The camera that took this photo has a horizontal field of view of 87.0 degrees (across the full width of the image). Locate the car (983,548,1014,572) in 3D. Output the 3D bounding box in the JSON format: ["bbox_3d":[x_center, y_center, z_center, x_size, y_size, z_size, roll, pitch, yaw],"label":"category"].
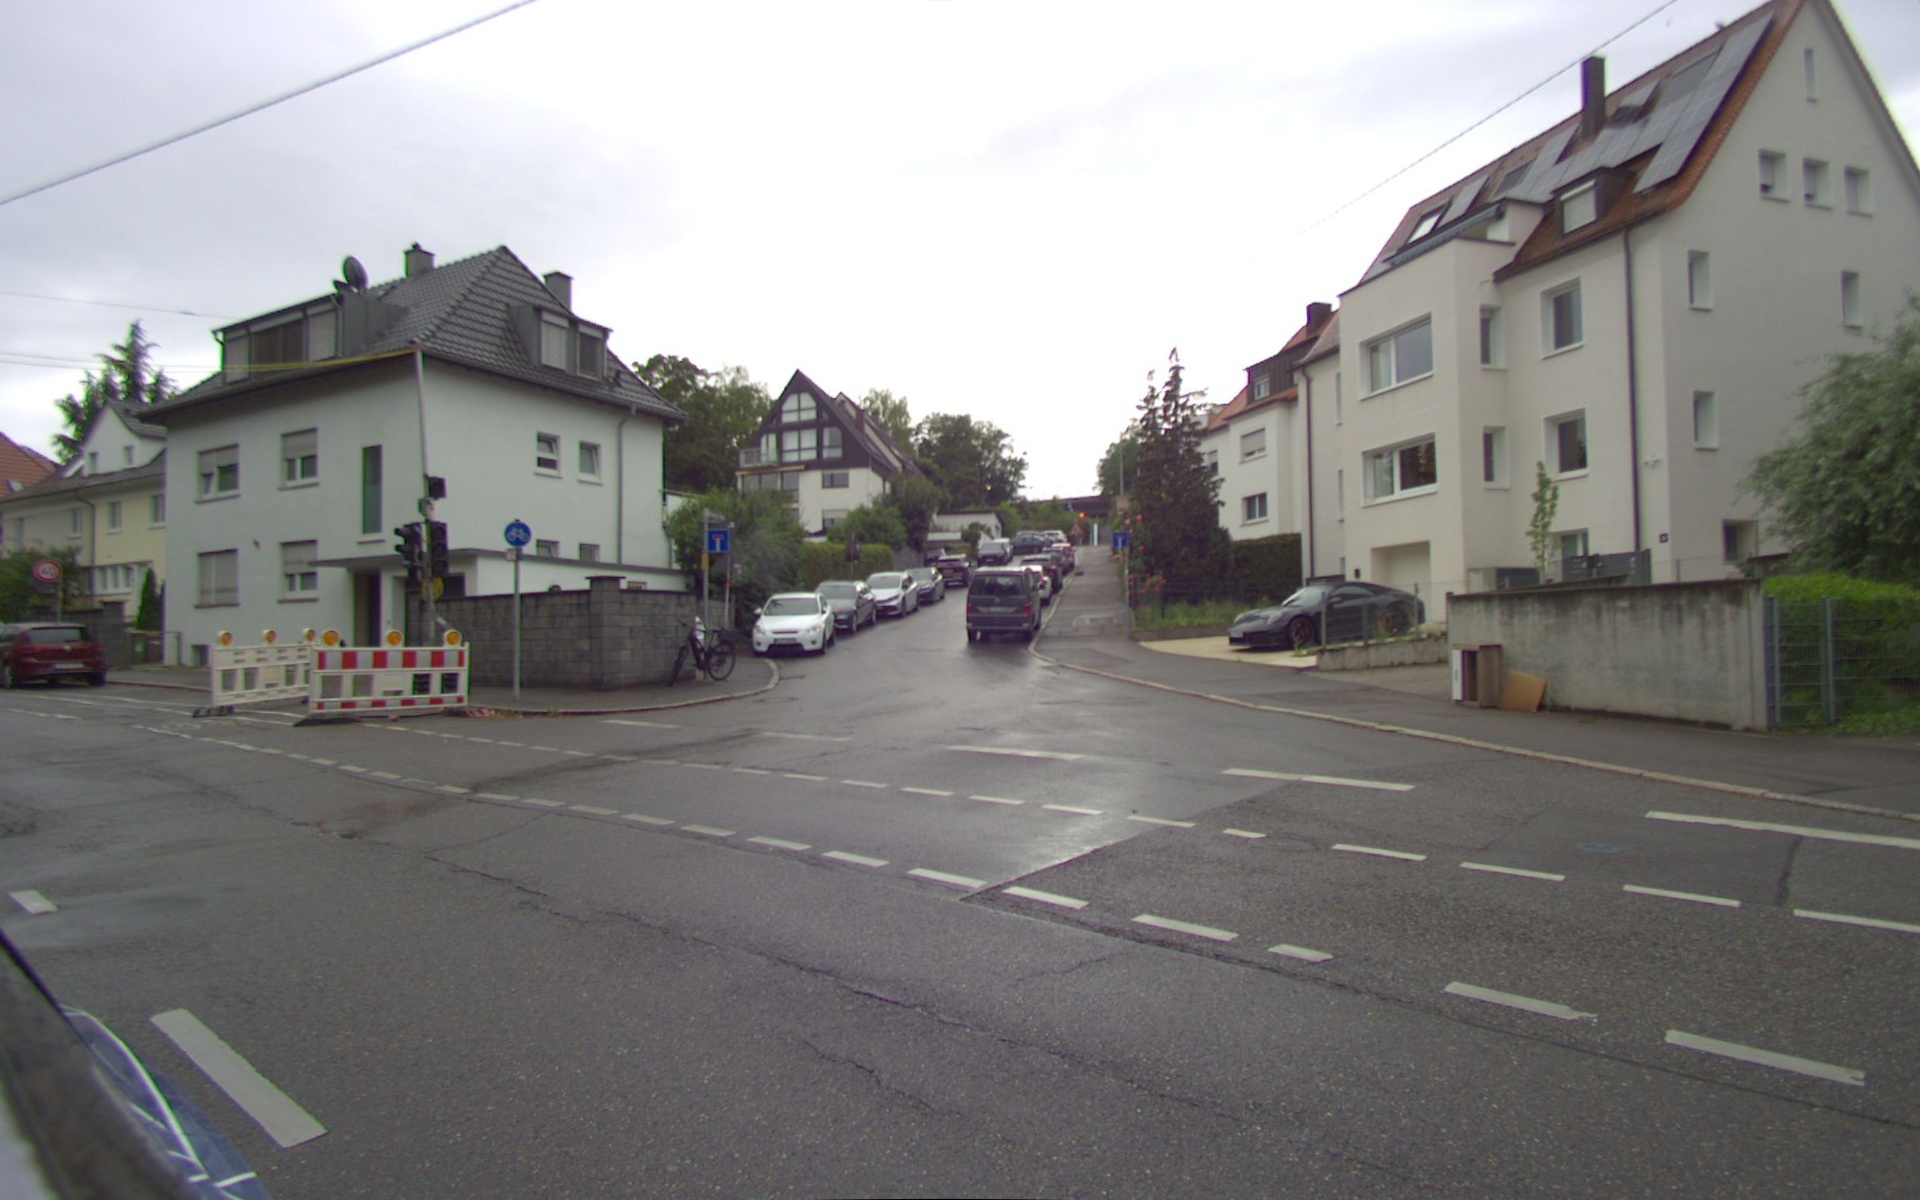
[{"bbox_3d":[2.828,-2.895,73.930,1.869,1.733,3.991,0,1,8],"label":"car"}]

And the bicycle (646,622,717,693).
[{"bbox_3d":[-4.925,0.993,17.984,0.460,1.132,1.509,0,1,19],"label":"bicycle"}]

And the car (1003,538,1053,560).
[{"bbox_3d":[5.634,-4.204,83.738,3.956,1.733,1.886,0,1,10],"label":"car"}]

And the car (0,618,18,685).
[{"bbox_3d":[-26.190,1.315,25.695,4.378,1.671,1.745,-1,-3,24],"label":"car"}]

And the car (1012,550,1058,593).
[{"bbox_3d":[3.402,-1.309,45.378,1.847,1.758,3.992,0,3,8],"label":"car"}]

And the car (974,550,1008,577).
[{"bbox_3d":[2.118,-2.419,67.988,1.869,1.733,3.991,0,1,8],"label":"car"}]

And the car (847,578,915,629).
[{"bbox_3d":[-2.810,0.088,36.897,1.867,1.733,3.994,0,1,5],"label":"car"}]

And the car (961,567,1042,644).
[{"bbox_3d":[1.257,0.084,29.056,1.976,1.933,3.992,0,3,8],"label":"car"}]

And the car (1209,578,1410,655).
[{"bbox_3d":[7.520,0.337,21.882,3.754,1.519,1.740,-1,-1,-16],"label":"car"}]

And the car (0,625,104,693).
[{"bbox_3d":[-21.683,1.333,23.369,4.213,1.451,1.605,-2,-2,30],"label":"car"}]

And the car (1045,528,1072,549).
[{"bbox_3d":[10.191,-6.352,104.644,1.983,2.028,3.977,0,2,18],"label":"car"}]

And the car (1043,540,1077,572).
[{"bbox_3d":[5.801,-2.587,58.467,1.847,1.758,3.992,0,3,8],"label":"car"}]

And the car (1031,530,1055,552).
[{"bbox_3d":[8.070,-5.674,98.163,1.977,2.028,3.989,0,1,9],"label":"car"}]

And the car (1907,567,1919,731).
[{"bbox_3d":[10.603,0.381,8.548,3.934,1.455,1.844,-1,-1,-12],"label":"car"}]

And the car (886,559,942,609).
[{"bbox_3d":[-1.880,-0.698,42.750,1.867,2.007,3.994,0,1,5],"label":"car"}]

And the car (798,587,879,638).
[{"bbox_3d":[-3.767,0.345,32.047,1.867,1.477,3.996,0,1,3],"label":"car"}]

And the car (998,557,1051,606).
[{"bbox_3d":[2.610,-0.777,40.096,1.847,1.758,3.992,0,3,8],"label":"car"}]

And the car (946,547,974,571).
[{"bbox_3d":[-0.051,-2.982,74.175,1.863,1.733,4.003,0,1,-3],"label":"car"}]

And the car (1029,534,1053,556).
[{"bbox_3d":[7.066,-4.768,87.909,1.869,1.733,3.991,0,1,8],"label":"car"}]

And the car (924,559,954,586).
[{"bbox_3d":[-1.446,-1.858,68.131,1.863,1.733,4.003,0,1,-3],"label":"car"}]

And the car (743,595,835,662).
[{"bbox_3d":[-4.291,0.666,25.993,1.863,1.477,4.003,0,1,-3],"label":"car"}]

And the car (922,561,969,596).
[{"bbox_3d":[-0.689,-1.123,52.075,1.869,1.733,3.991,0,1,8],"label":"car"}]

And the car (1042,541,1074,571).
[{"bbox_3d":[6.104,-2.773,62.948,1.847,1.758,3.992,0,3,8],"label":"car"}]
